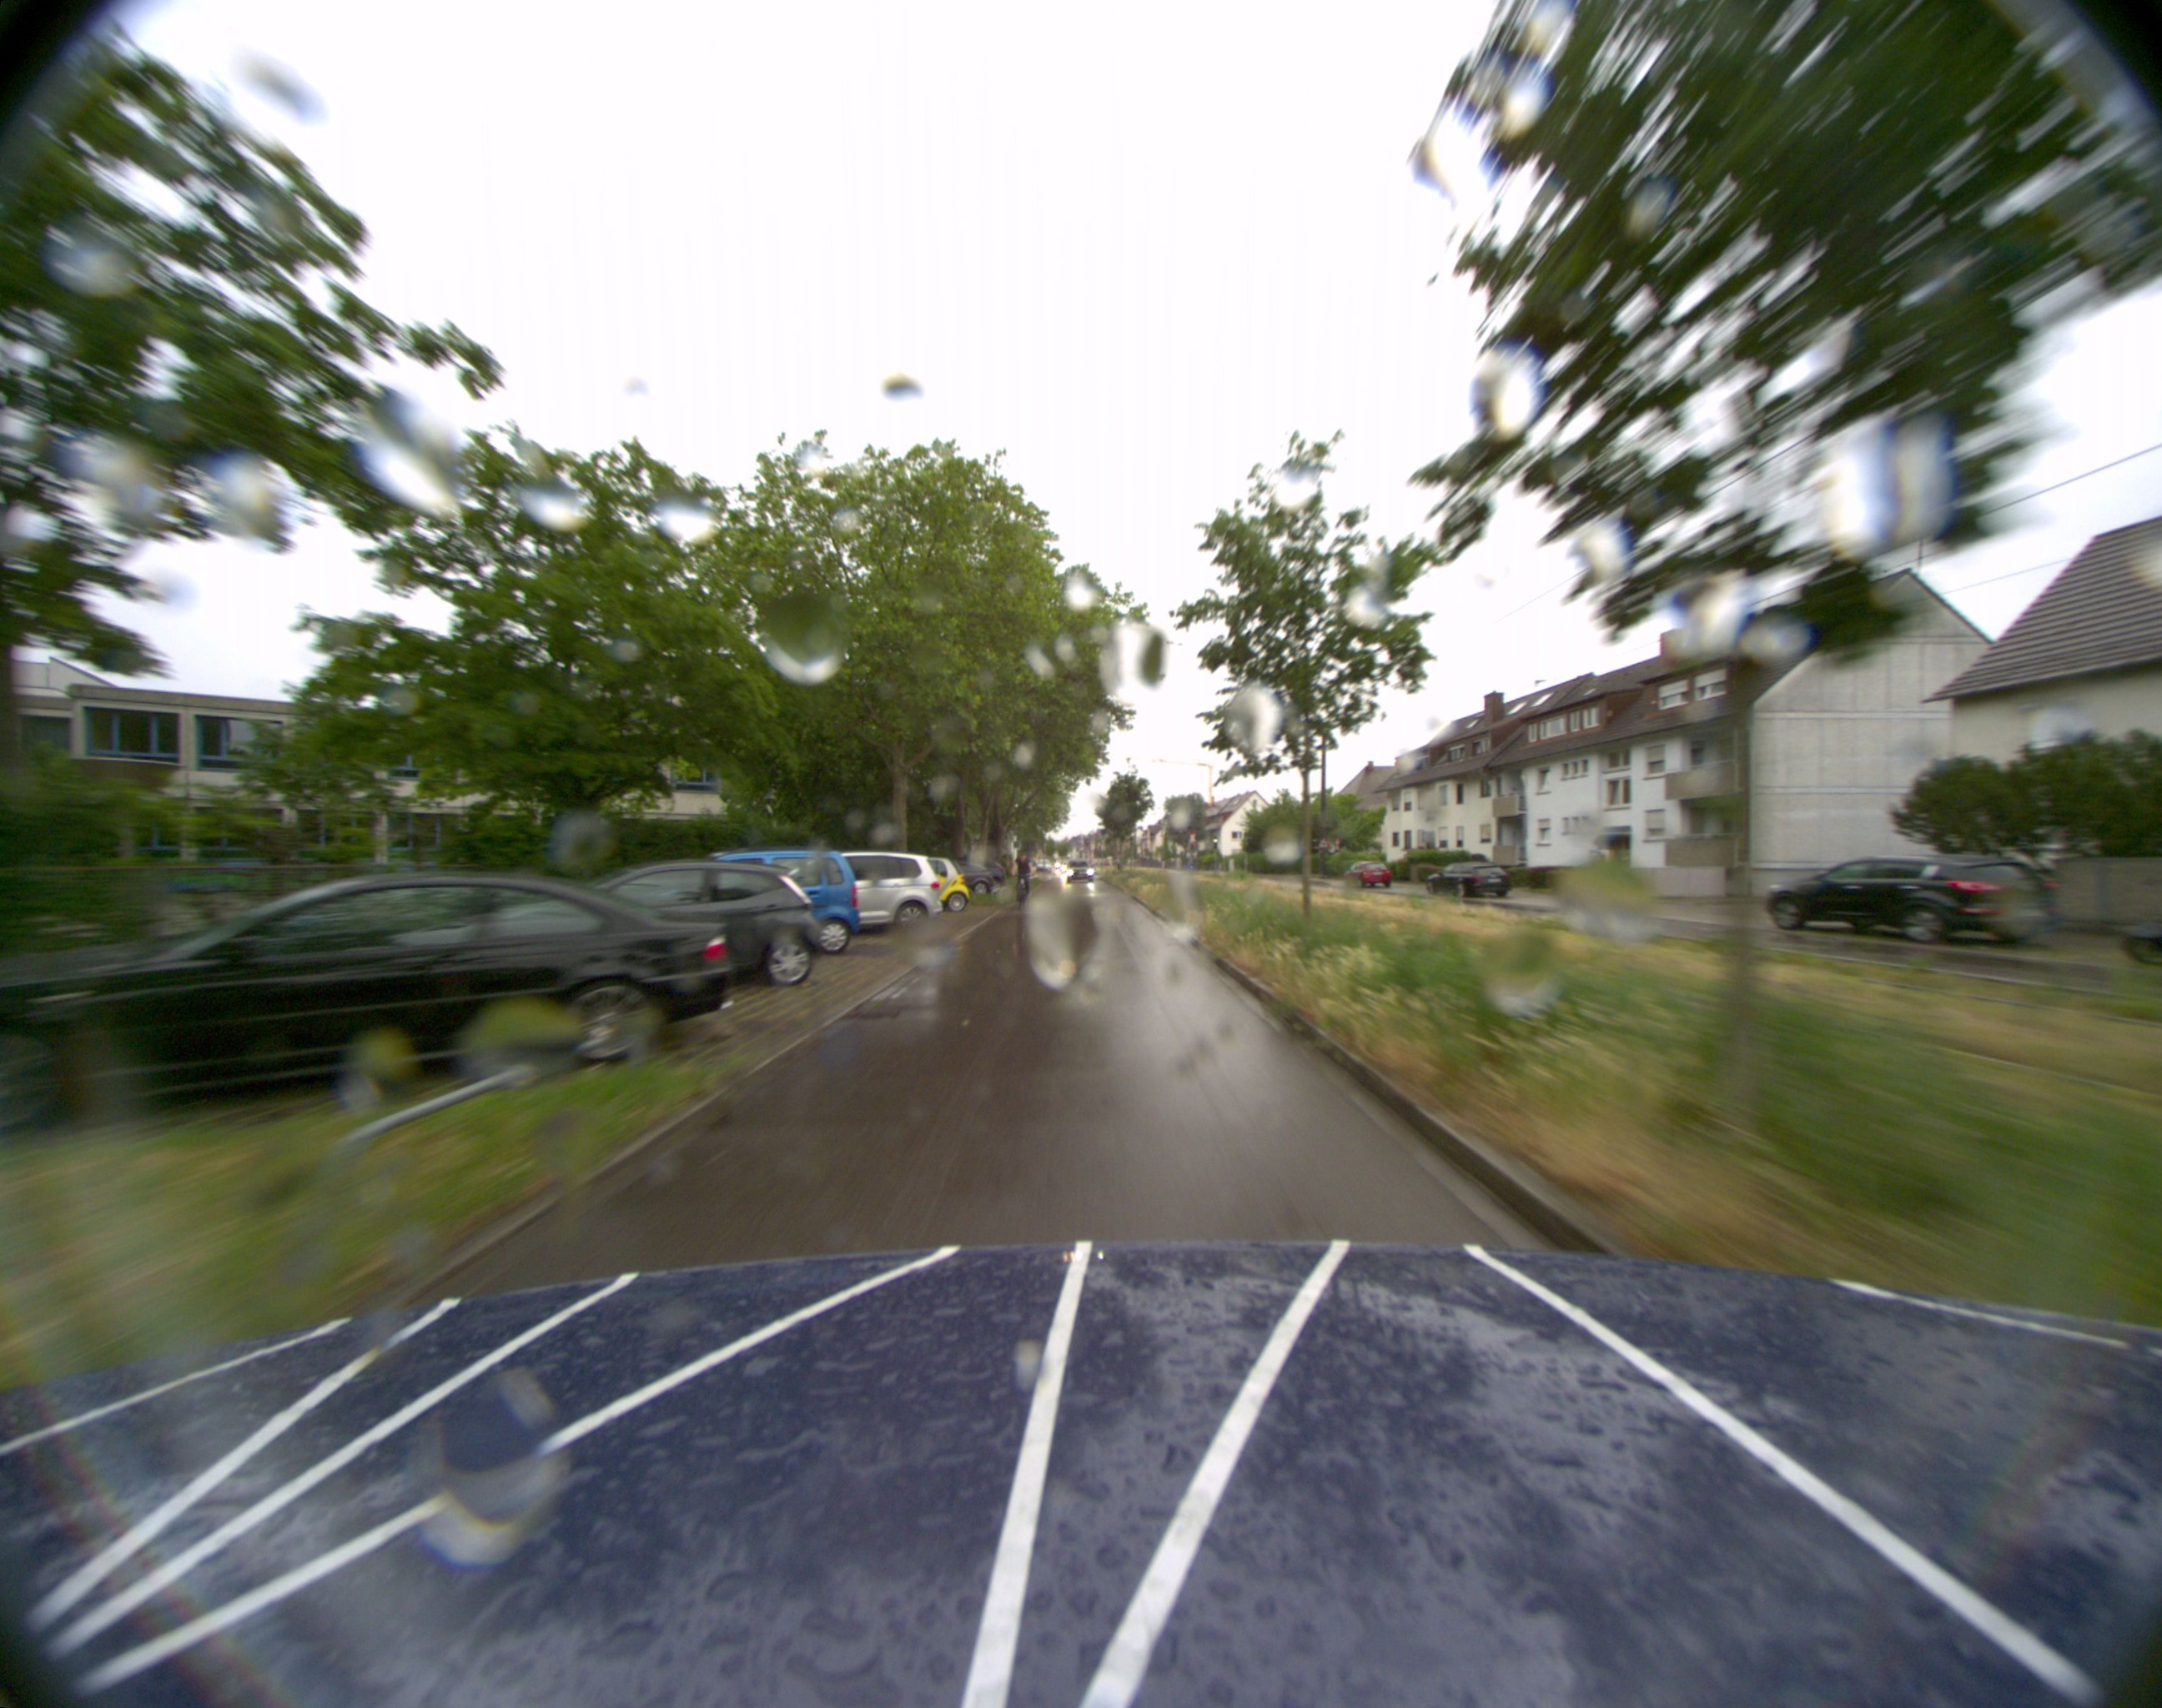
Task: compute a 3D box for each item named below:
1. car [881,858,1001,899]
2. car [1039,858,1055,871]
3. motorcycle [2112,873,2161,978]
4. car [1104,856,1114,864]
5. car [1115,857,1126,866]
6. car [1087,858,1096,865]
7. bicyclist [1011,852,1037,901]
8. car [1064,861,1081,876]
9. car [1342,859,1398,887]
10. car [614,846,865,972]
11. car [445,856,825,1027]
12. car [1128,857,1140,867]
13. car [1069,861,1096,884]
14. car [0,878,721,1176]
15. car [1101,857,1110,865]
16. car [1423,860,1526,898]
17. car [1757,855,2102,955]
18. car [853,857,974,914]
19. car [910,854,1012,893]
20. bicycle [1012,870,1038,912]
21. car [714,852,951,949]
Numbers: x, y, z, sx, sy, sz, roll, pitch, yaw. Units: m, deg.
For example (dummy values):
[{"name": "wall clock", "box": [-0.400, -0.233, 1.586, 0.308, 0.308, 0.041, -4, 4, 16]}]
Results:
[{"name": "car", "box": [-5.272, 0.904, 28.766, 4.071, 1.410, 1.737, 2, 1, -36]}, {"name": "car", "box": [-4.056, 1.230, 91.126, 1.781, 1.477, 4.000, 2, 0, -1]}, {"name": "motorcycle", "box": [16.213, 0.989, 10.161, 2.680, 1.403, 1.269, -1, 2, 42]}, {"name": "car", "box": [7.500, 1.559, 205.133, 2.000, 2.002, 3.997, 0, 0, -7]}, {"name": "car", "box": [9.517, 1.779, 184.141, 2.000, 2.002, 3.997, 0, 0, -7]}, {"name": "car", "box": [2.944, 2.036, 221.348, 2.000, 2.002, 3.997, 0, 0, -9]}, {"name": "bicyclist", "box": [-1.711, 0.663, 22.966, 0.675, 1.421, 0.754, -3, 0, -1]}, {"name": "car", "box": [-0.896, 1.514, 82.358, 1.781, 1.477, 4.000, 2, 0, -1]}, {"name": "car", "box": [16.474, 1.043, 43.490, 1.802, 1.448, 4.001, -2, 0, 2]}, {"name": "car", "box": [-5.225, 0.774, 11.704, 3.281, 1.662, 1.588, 2, 1, -34]}, {"name": "car", "box": [-4.952, 0.840, 8.658, 3.412, 1.509, 1.845, 2, 1, -37]}, {"name": "car", "box": [11.318, 1.661, 162.808, 2.000, 2.002, 3.998, 0, 0, -6]}, {"name": "car", "box": [0.088, 1.254, 53.791, 1.781, 1.477, 4.000, 2, 0, -1]}, {"name": "car", "box": [-5.024, 0.922, 5.222, 4.314, 1.376, 1.736, 0, 0, -39]}, {"name": "car", "box": [6.790, 1.932, 210.462, 2.000, 2.002, 3.997, 0, 0, -7]}, {"name": "car", "box": [16.483, 0.998, 32.143, 1.998, 1.402, 4.762, -2, 0, 2]}, {"name": "car", "box": [16.585, 0.884, 15.299, 1.999, 1.665, 4.386, -1, 0, -1]}, {"name": "car", "box": [-4.635, 0.856, 21.028, 2.910, 1.457, 1.600, 2, 1, -28]}, {"name": "car", "box": [-5.044, 0.826, 32.079, 3.812, 1.523, 1.878, 2, -1, -32]}, {"name": "bicycle", "box": [-1.689, 1.100, 23.093, 0.675, 1.136, 2.444, -1, 0, -2]}, {"name": "car", "box": [-4.750, 0.795, 14.783, 4.056, 1.631, 1.650, 0, 1, -38]}]
